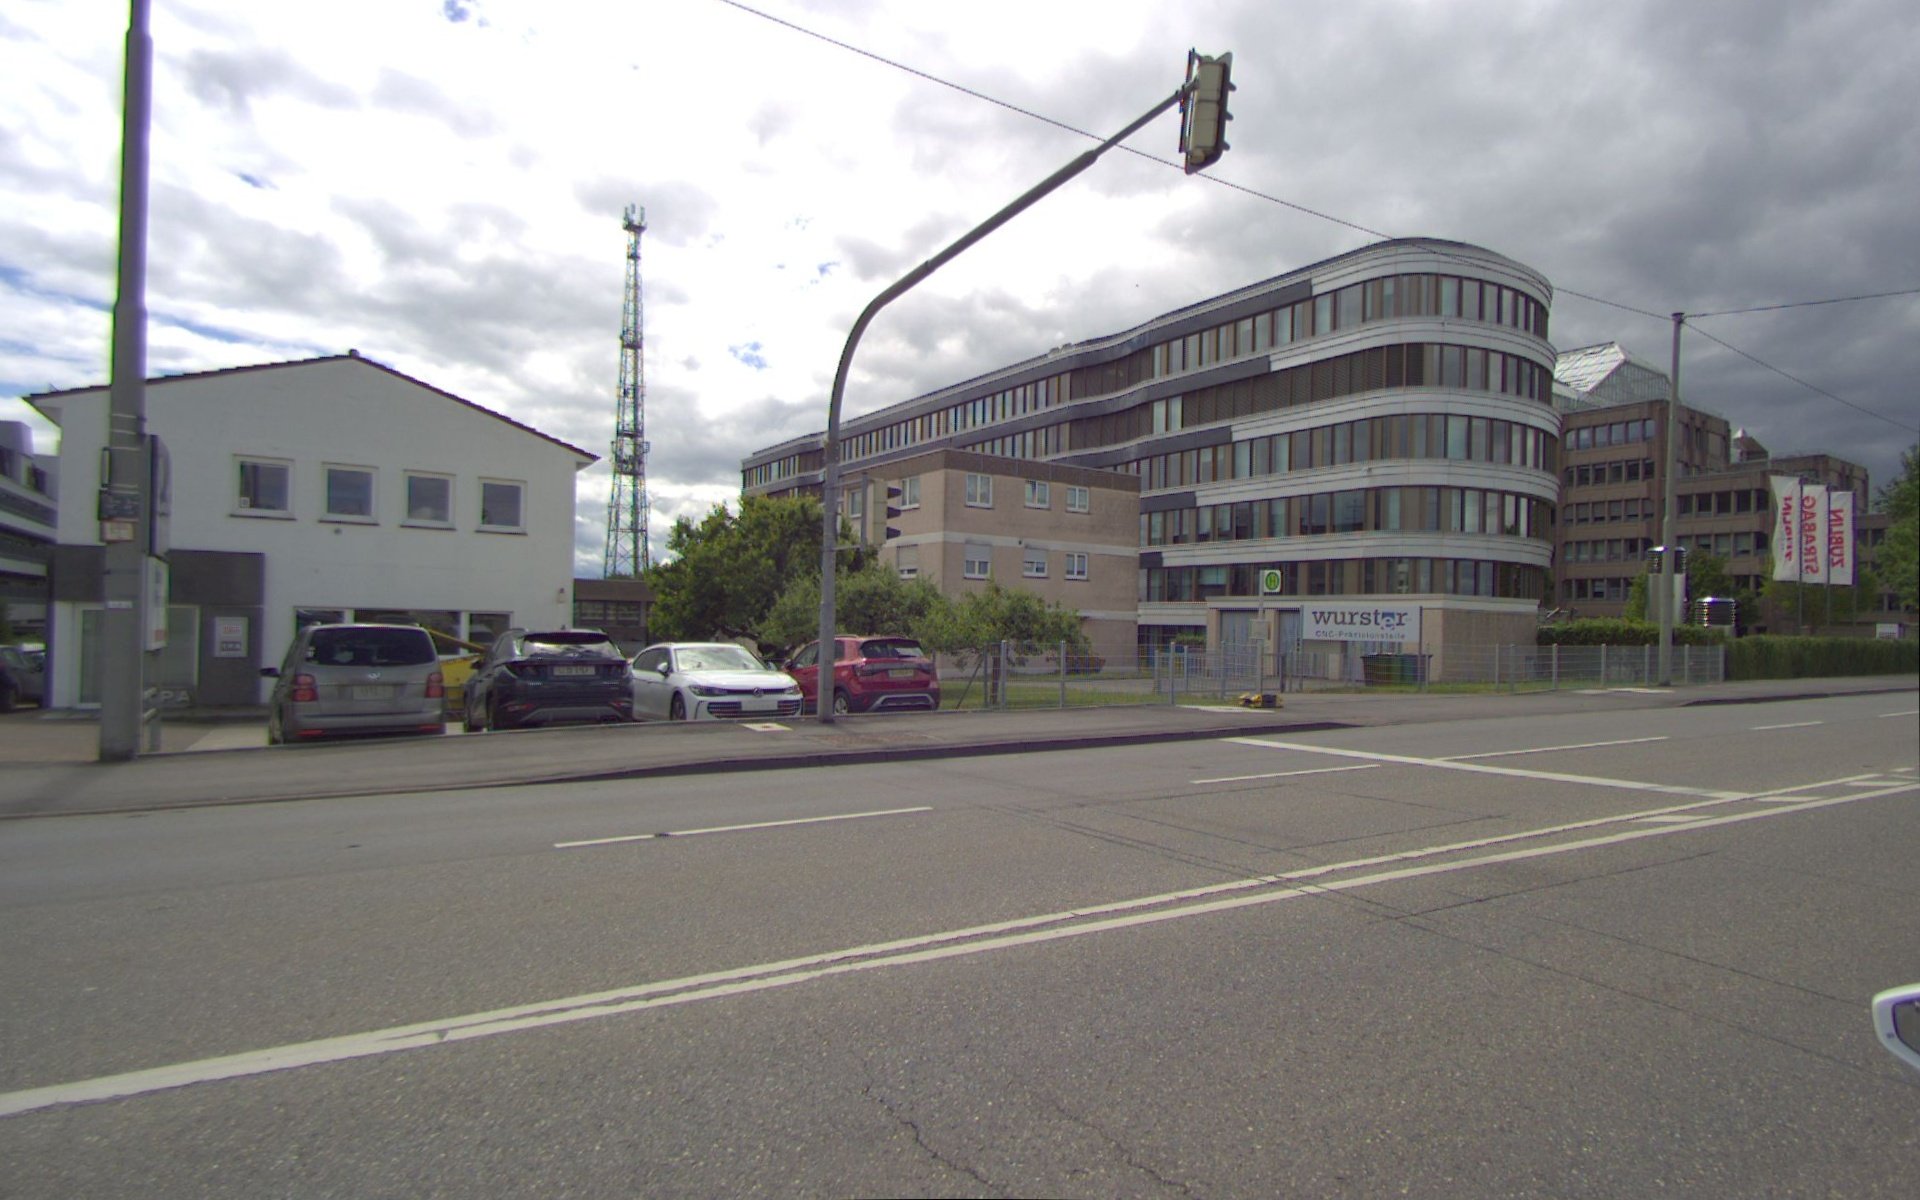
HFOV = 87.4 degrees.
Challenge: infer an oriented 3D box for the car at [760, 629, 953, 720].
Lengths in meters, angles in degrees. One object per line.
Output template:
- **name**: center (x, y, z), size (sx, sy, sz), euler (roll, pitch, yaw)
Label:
- **car**: center (-1.946, 1.391, 17.742), size (1.828, 1.387, 3.968), euler (3, -7, -32)

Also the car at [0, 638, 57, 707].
- **car**: center (-21.752, 1.613, 22.273), size (1.789, 1.438, 3.909), euler (0, -3, -30)

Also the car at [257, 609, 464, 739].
- **car**: center (-7.949, 1.028, 13.158), size (1.891, 1.415, 4.065), euler (1, -7, -37)

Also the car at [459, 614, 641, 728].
- **car**: center (-6.181, 1.146, 14.901), size (1.835, 1.442, 3.968), euler (3, -7, -32)

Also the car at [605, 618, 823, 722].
- **car**: center (-4.037, 1.210, 16.007), size (1.965, 1.404, 4.197), euler (3, -8, -36)

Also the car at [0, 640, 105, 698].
- **car**: center (-25.175, 1.884, 27.831), size (1.792, 1.438, 3.903), euler (0, -3, -34)

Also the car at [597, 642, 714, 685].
- **car**: center (-12.378, 2.575, 40.899), size (4.137, 1.564, 1.830), euler (3, 0, -38)
